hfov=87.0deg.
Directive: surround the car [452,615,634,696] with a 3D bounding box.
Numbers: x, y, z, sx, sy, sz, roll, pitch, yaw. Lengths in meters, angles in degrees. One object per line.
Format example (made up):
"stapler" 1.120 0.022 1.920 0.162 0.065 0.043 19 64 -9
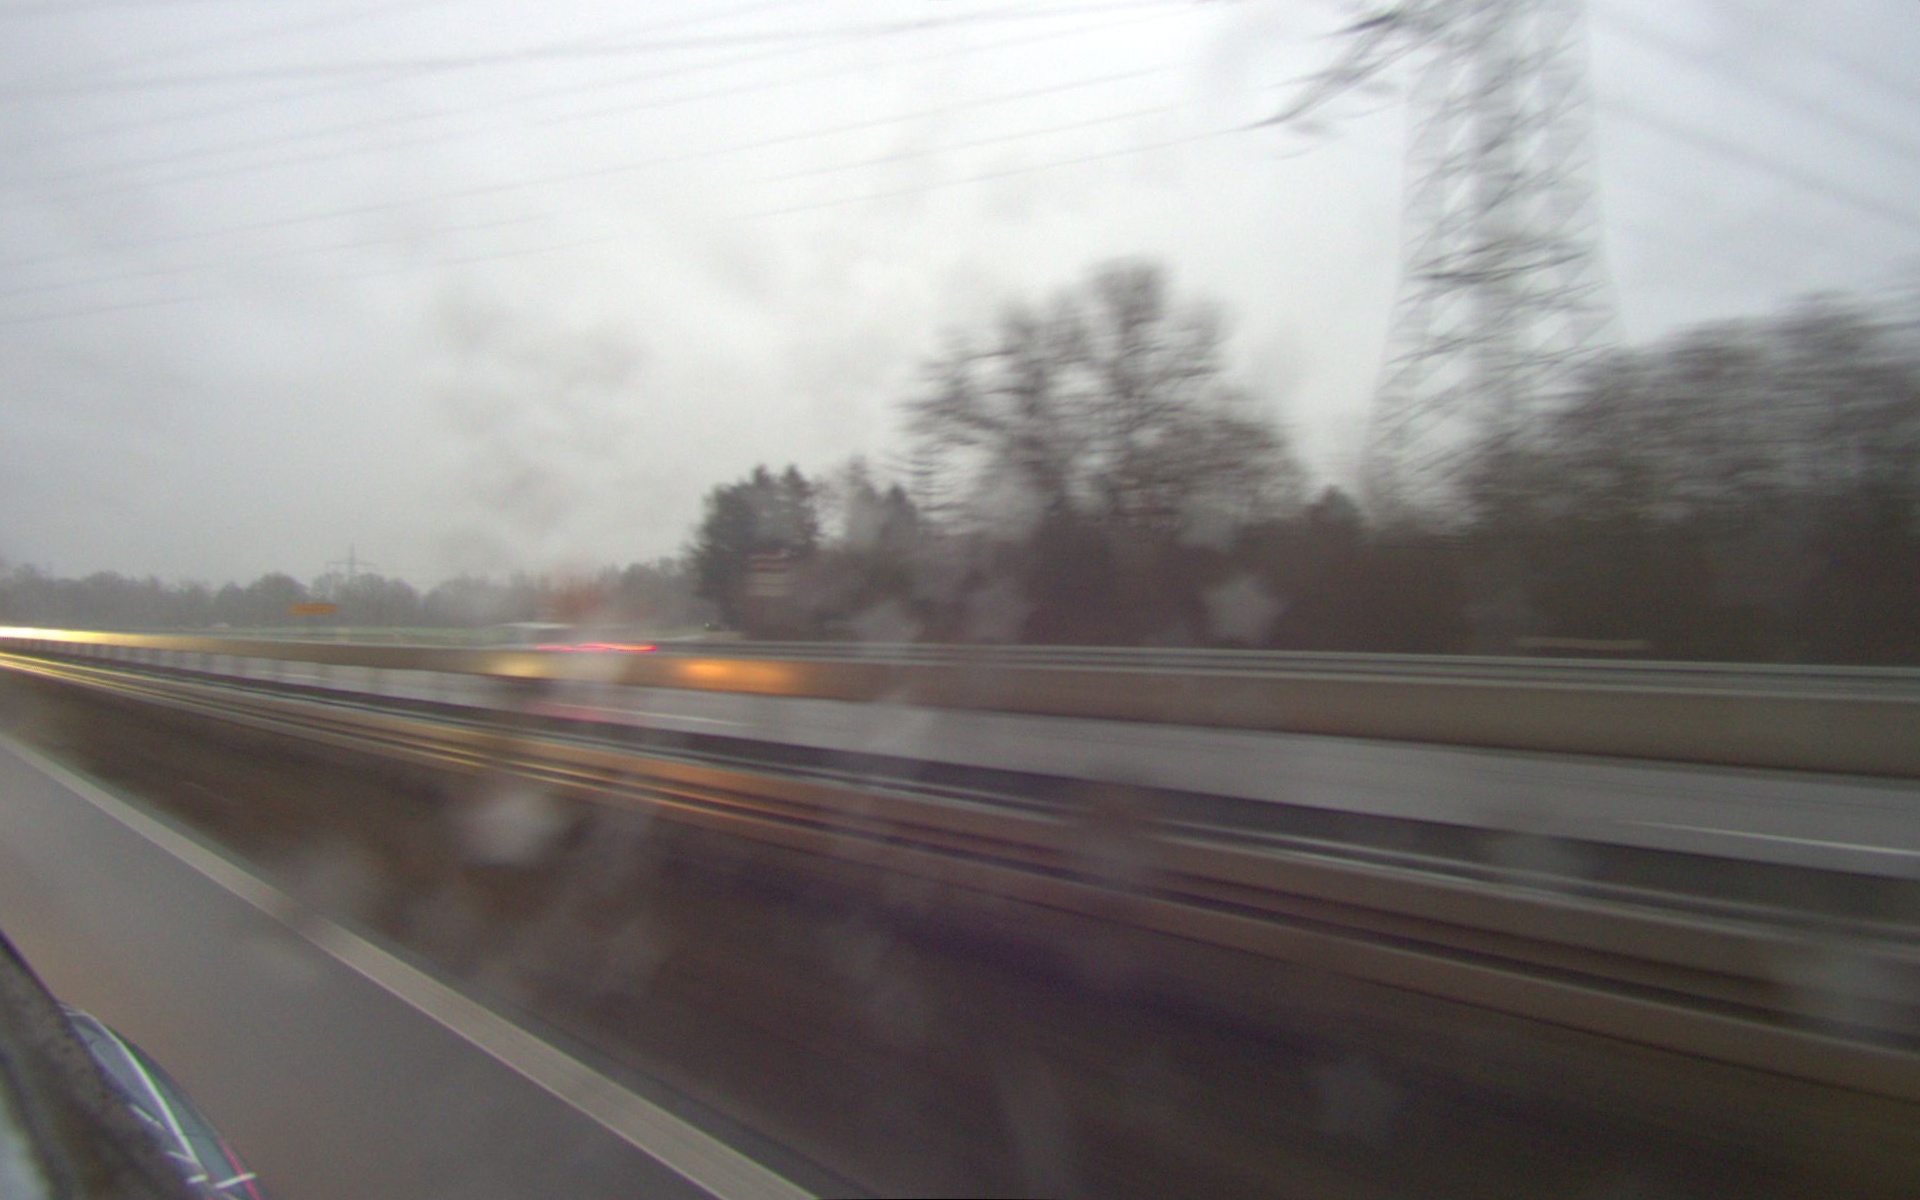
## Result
"car" -9.272 1.145 22.286 4.750 1.583 1.778 -1 -1 41
